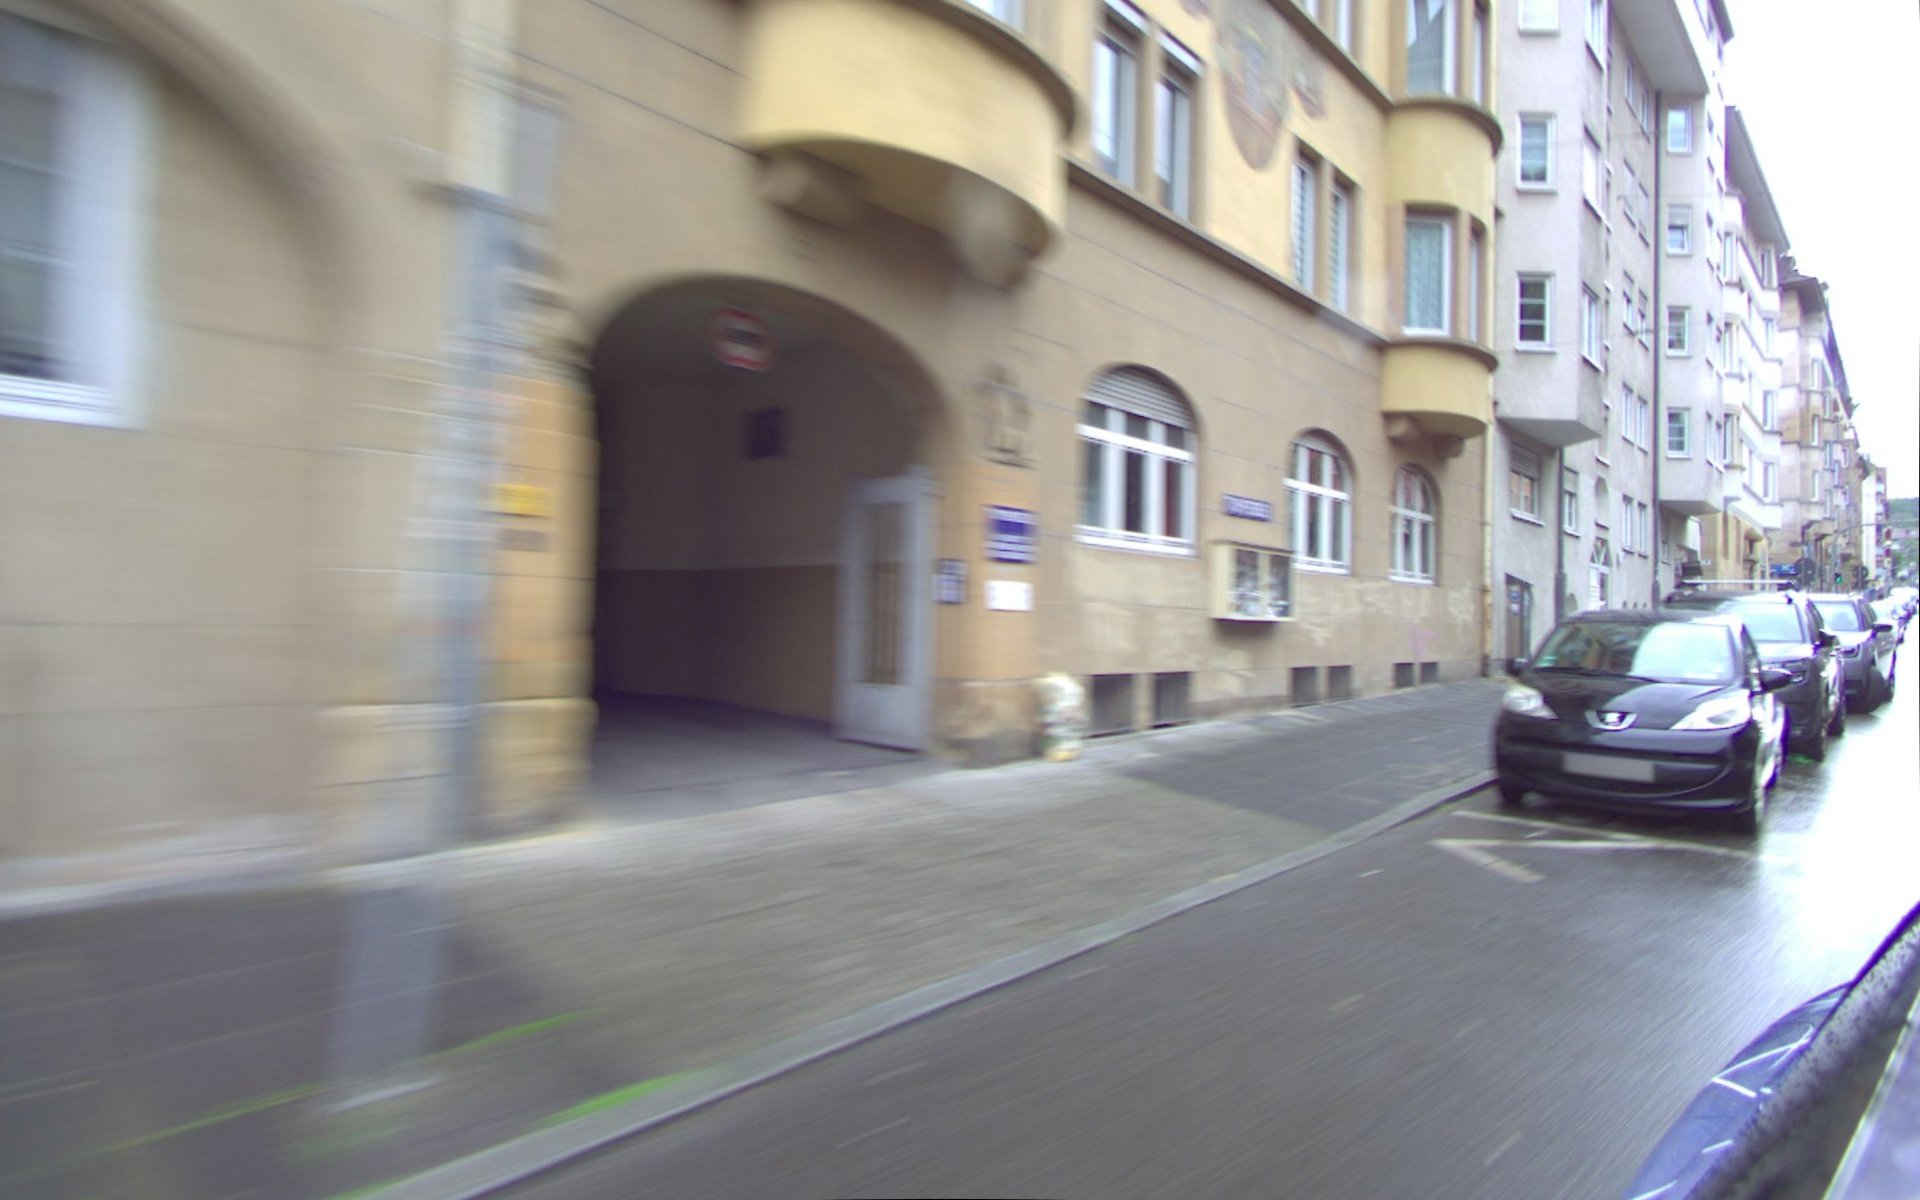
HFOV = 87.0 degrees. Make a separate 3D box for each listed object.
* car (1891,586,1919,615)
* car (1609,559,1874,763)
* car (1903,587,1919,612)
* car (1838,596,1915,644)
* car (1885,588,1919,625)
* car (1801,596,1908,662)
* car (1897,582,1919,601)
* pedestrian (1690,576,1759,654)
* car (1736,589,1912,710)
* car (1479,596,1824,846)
[{"bbox_3d":[67.766,0.040,72.047,1.994,1.995,3.935,0,0,45],"label":"car"},{"bbox_3d":[8.709,0.532,11.134,4.194,1.821,1.738,0,0,-44],"label":"car"},{"bbox_3d":[78.531,-0.065,82.704,1.994,1.995,3.935,0,0,45],"label":"car"},{"bbox_3d":[30.352,0.615,33.466,3.961,1.496,1.646,0,0,-44],"label":"car"},{"bbox_3d":[53.072,0.353,56.463,1.994,1.995,3.935,0,0,45],"label":"car"},{"bbox_3d":[21.753,0.639,24.559,3.961,1.450,1.646,0,0,-44],"label":"car"},{"bbox_3d":[92.562,-0.834,98.366,3.933,1.794,1.995,0,-1,-44],"label":"car"},{"bbox_3d":[17.588,0.322,23.284,1.122,1.734,1.084,0,0,44],"label":"pedestrian"},{"bbox_3d":[12.986,0.634,15.132,3.961,1.565,1.646,0,0,-44],"label":"car"},{"bbox_3d":[5.597,0.711,7.983,1.629,1.470,3.936,0,0,44],"label":"car"}]
